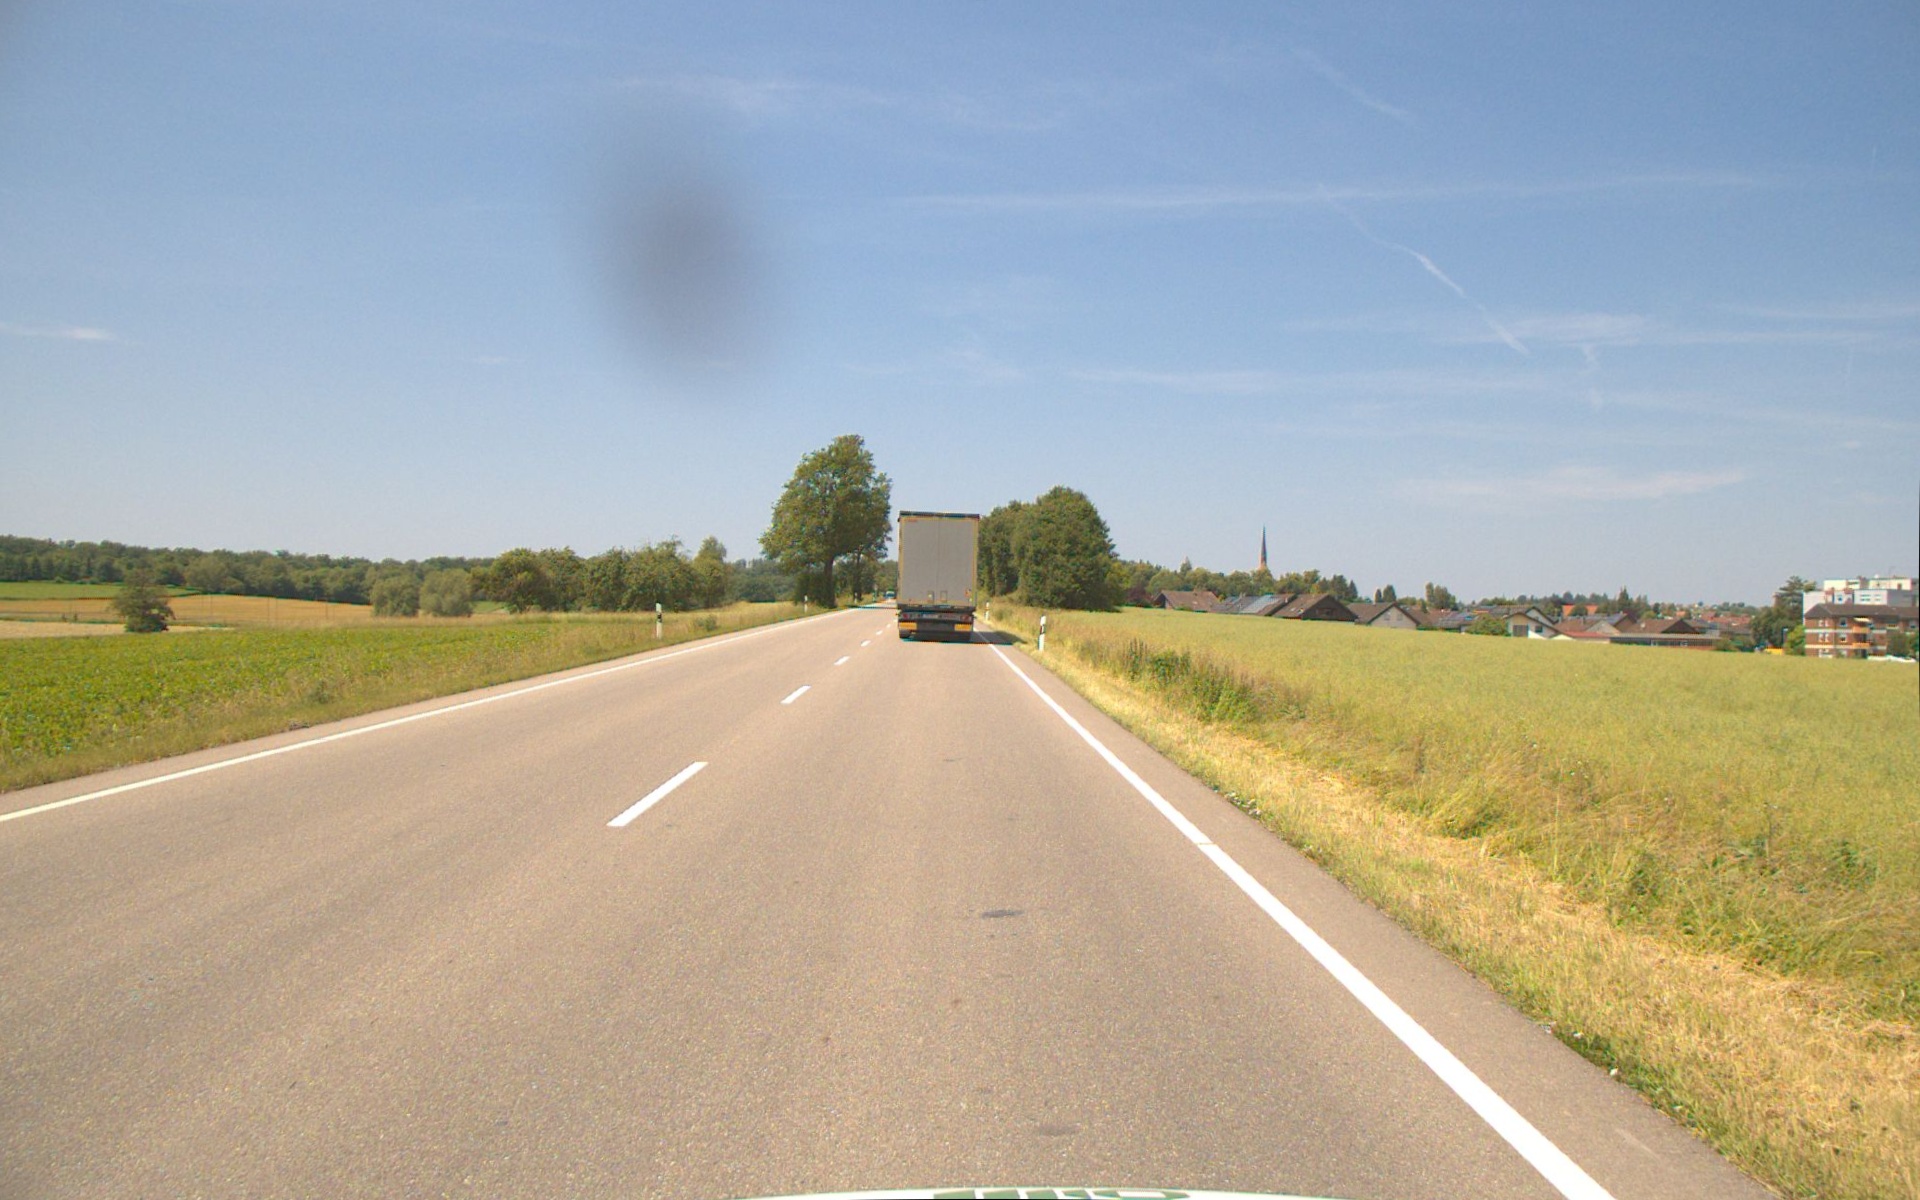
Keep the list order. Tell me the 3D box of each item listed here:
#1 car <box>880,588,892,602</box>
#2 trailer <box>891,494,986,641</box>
[{"bbox_3d":[-10.883,-0.775,243.416,1.836,2.049,4.072,1,0,-2],"label":"car"},{"bbox_3d":[-0.836,-1.029,57.975,2.809,4.477,13.489,2,0,-1],"label":"trailer"}]
